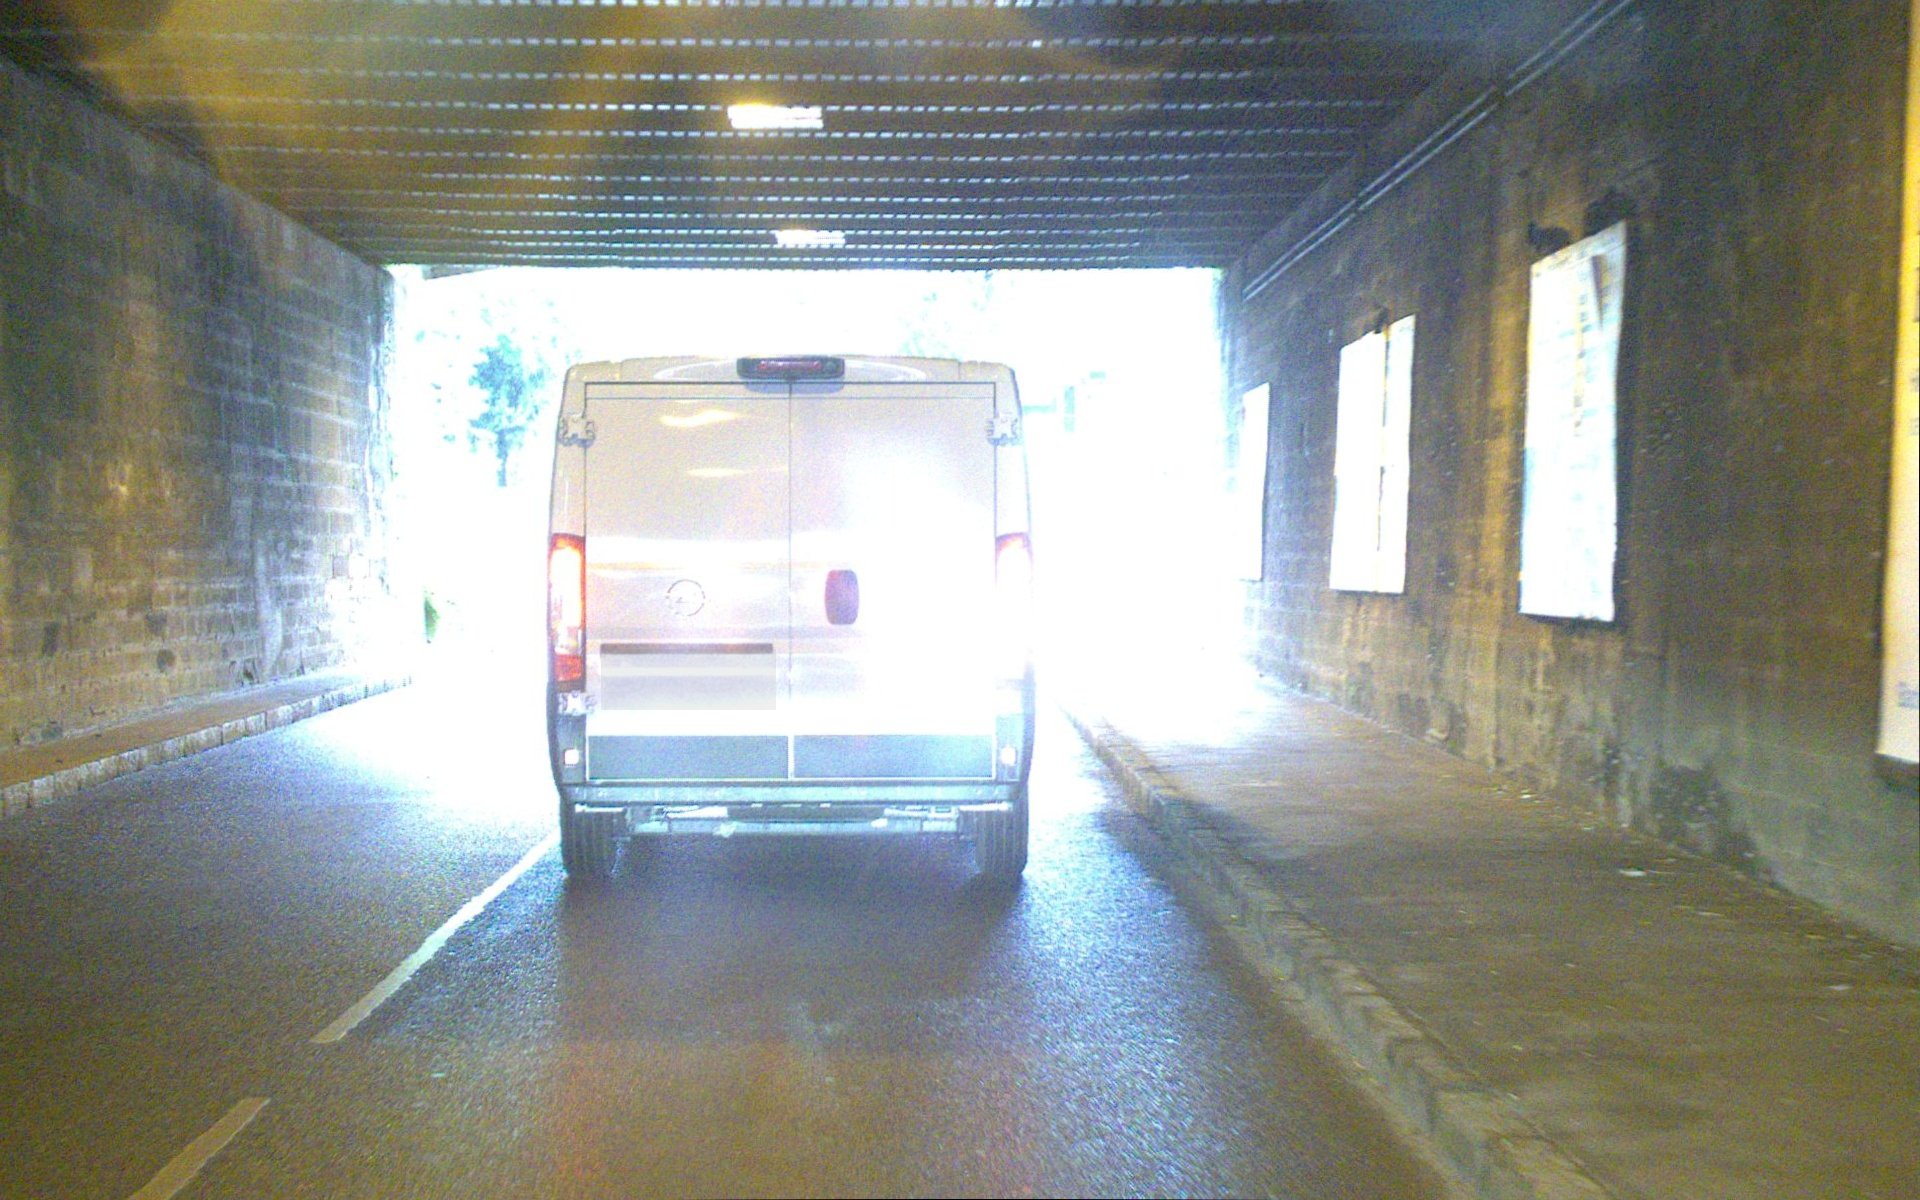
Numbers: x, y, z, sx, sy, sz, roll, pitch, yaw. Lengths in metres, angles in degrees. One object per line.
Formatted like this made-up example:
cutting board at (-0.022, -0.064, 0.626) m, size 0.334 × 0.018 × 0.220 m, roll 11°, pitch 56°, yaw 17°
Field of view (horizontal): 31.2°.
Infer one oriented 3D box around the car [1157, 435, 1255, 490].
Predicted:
car at (6.908, -3.865, 96.977) m, size 1.993 × 1.481 × 4.001 m, roll 0°, pitch 2°, yaw -7°

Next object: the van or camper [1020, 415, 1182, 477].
van or camper at (4.745, -5.159, 115.178) m, size 5.309 × 2.007 × 2.078 m, roll 1°, pitch 1°, yaw 5°

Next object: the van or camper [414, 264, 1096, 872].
van or camper at (-0.950, -0.104, 16.127) m, size 2.698 × 2.408 × 4.903 m, roll 0°, pitch 0°, yaw -3°

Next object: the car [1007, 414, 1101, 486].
car at (2.595, -4.166, 96.046) m, size 1.993 × 1.941 × 4.001 m, roll 0°, pitch 2°, yaw -7°
